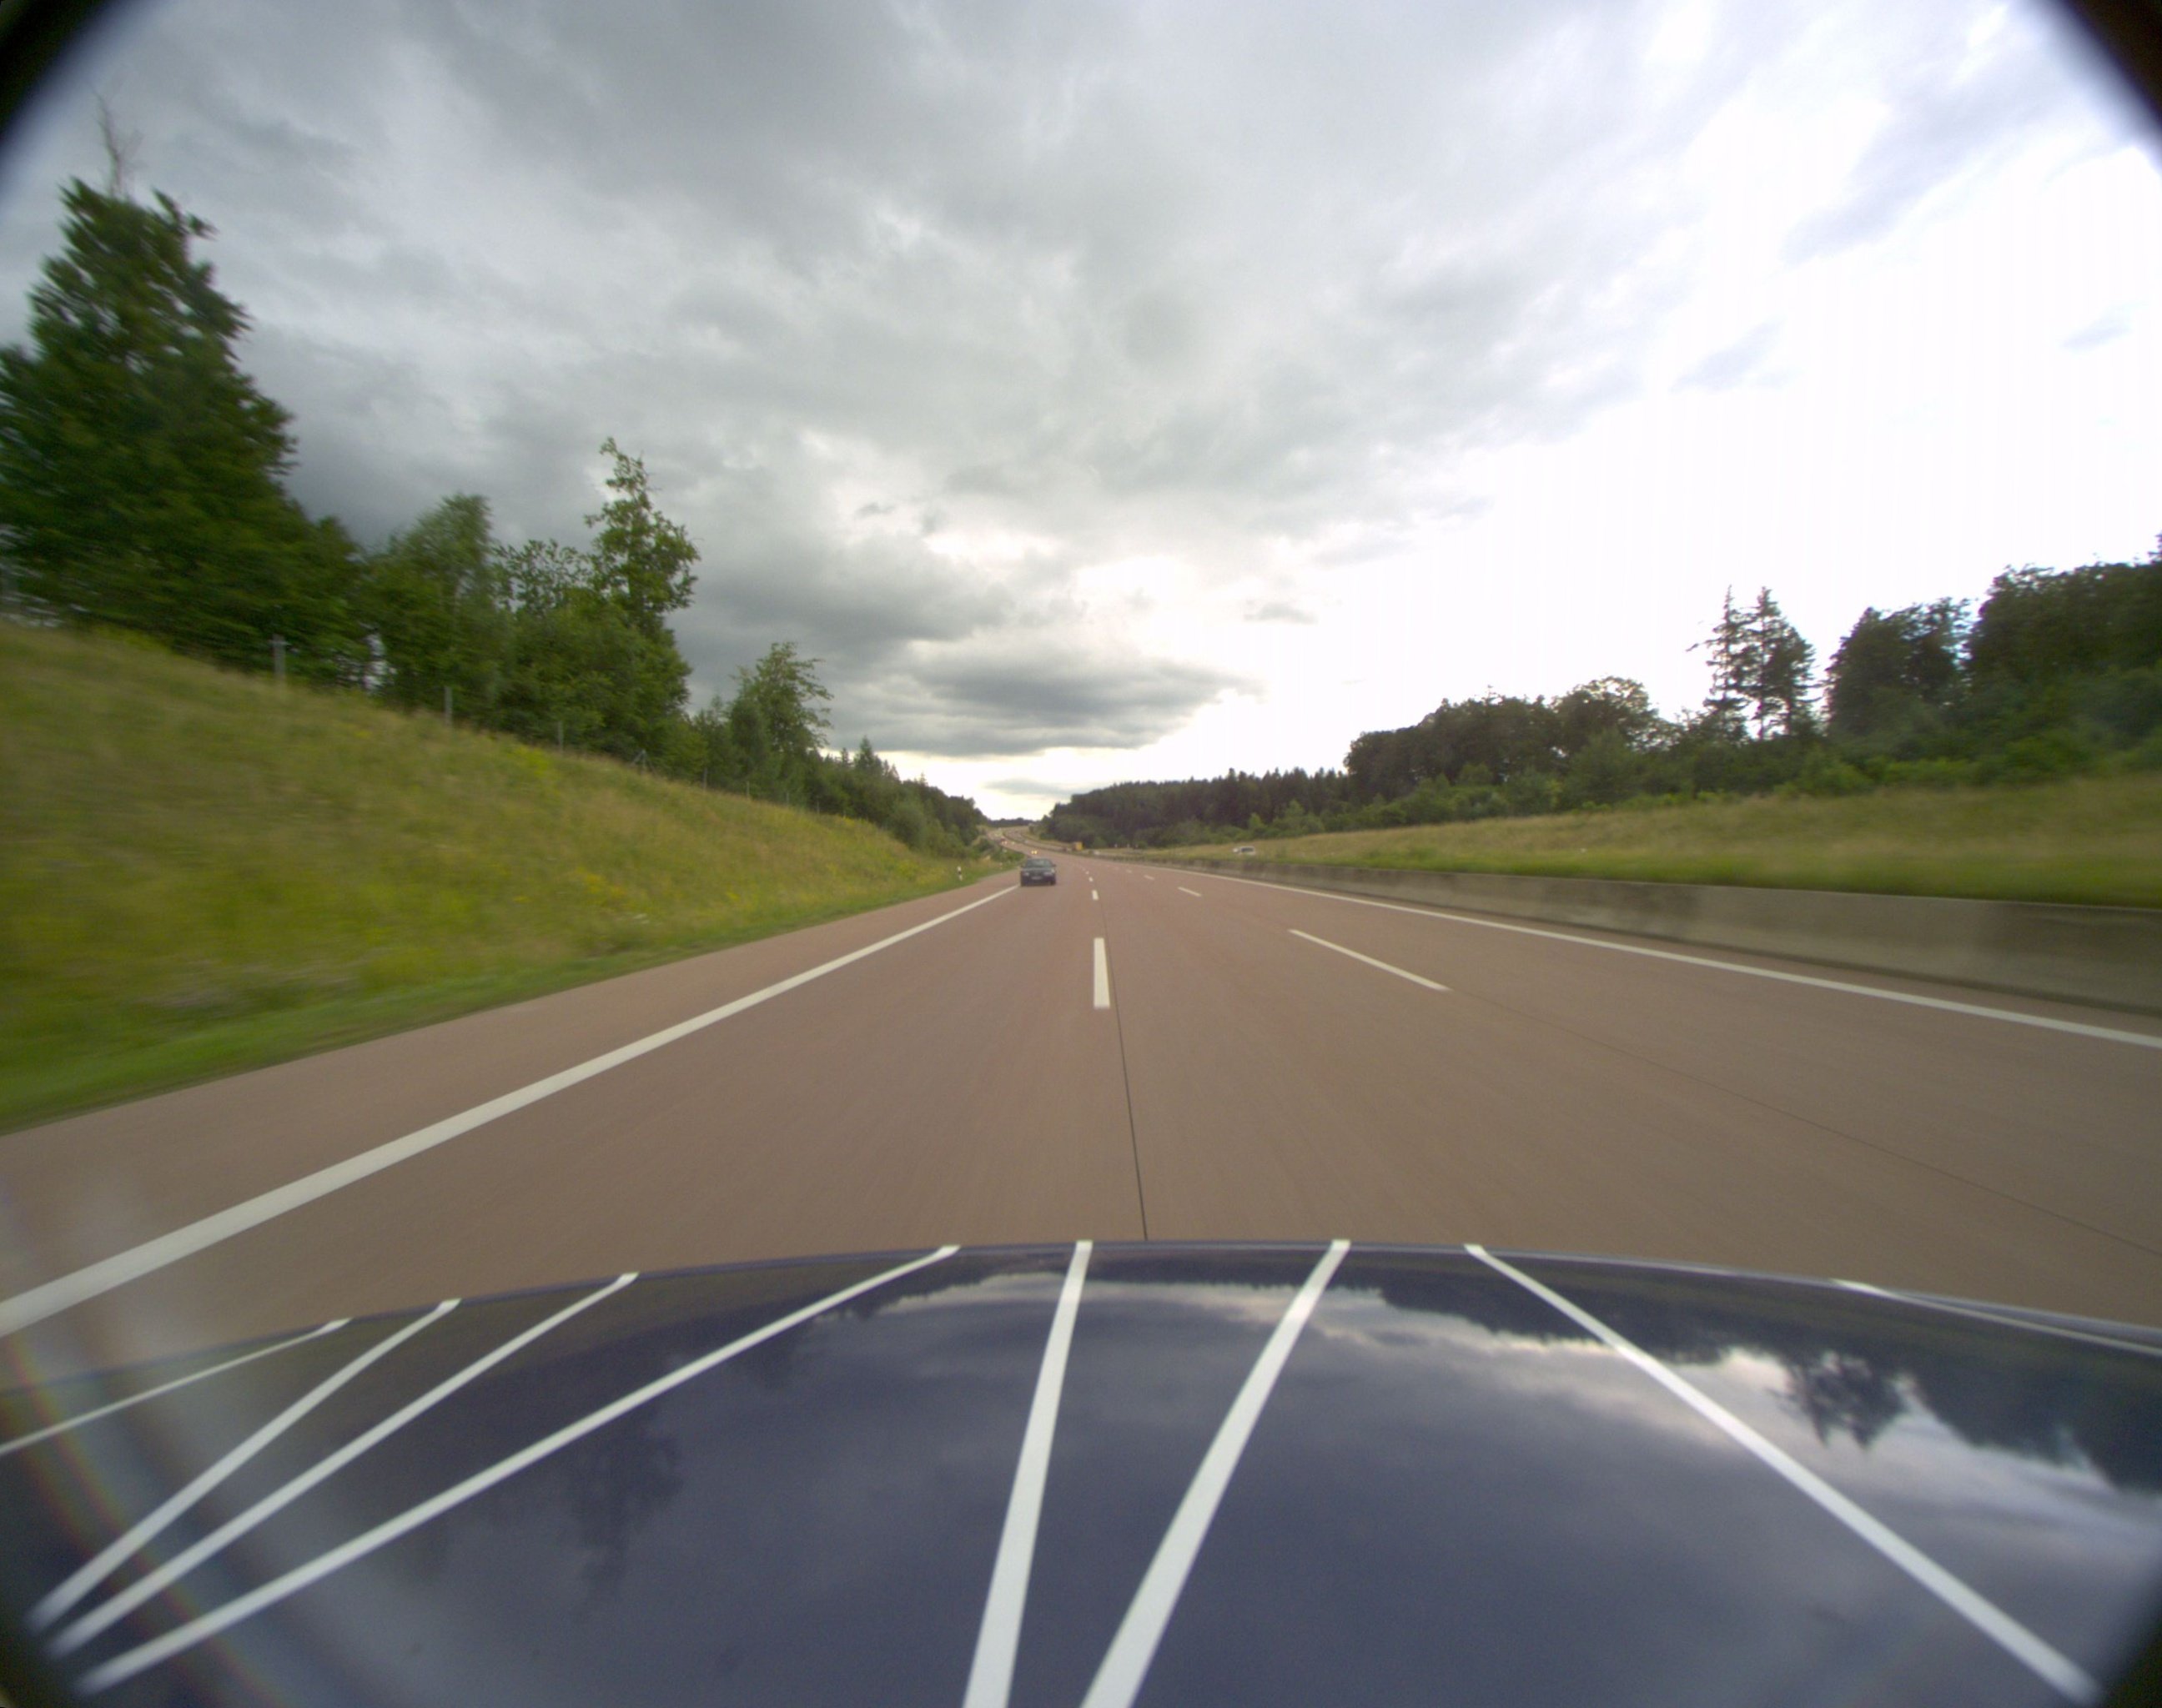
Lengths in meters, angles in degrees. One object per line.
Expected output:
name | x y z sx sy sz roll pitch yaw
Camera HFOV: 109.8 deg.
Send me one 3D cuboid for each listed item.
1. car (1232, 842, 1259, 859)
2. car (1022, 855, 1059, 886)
car | 19.060 -0.399 88.278 1.923 1.864 5.151 -2 0 0
car | -2.077 0.804 39.612 1.676 1.395 4.232 -1 2 0
